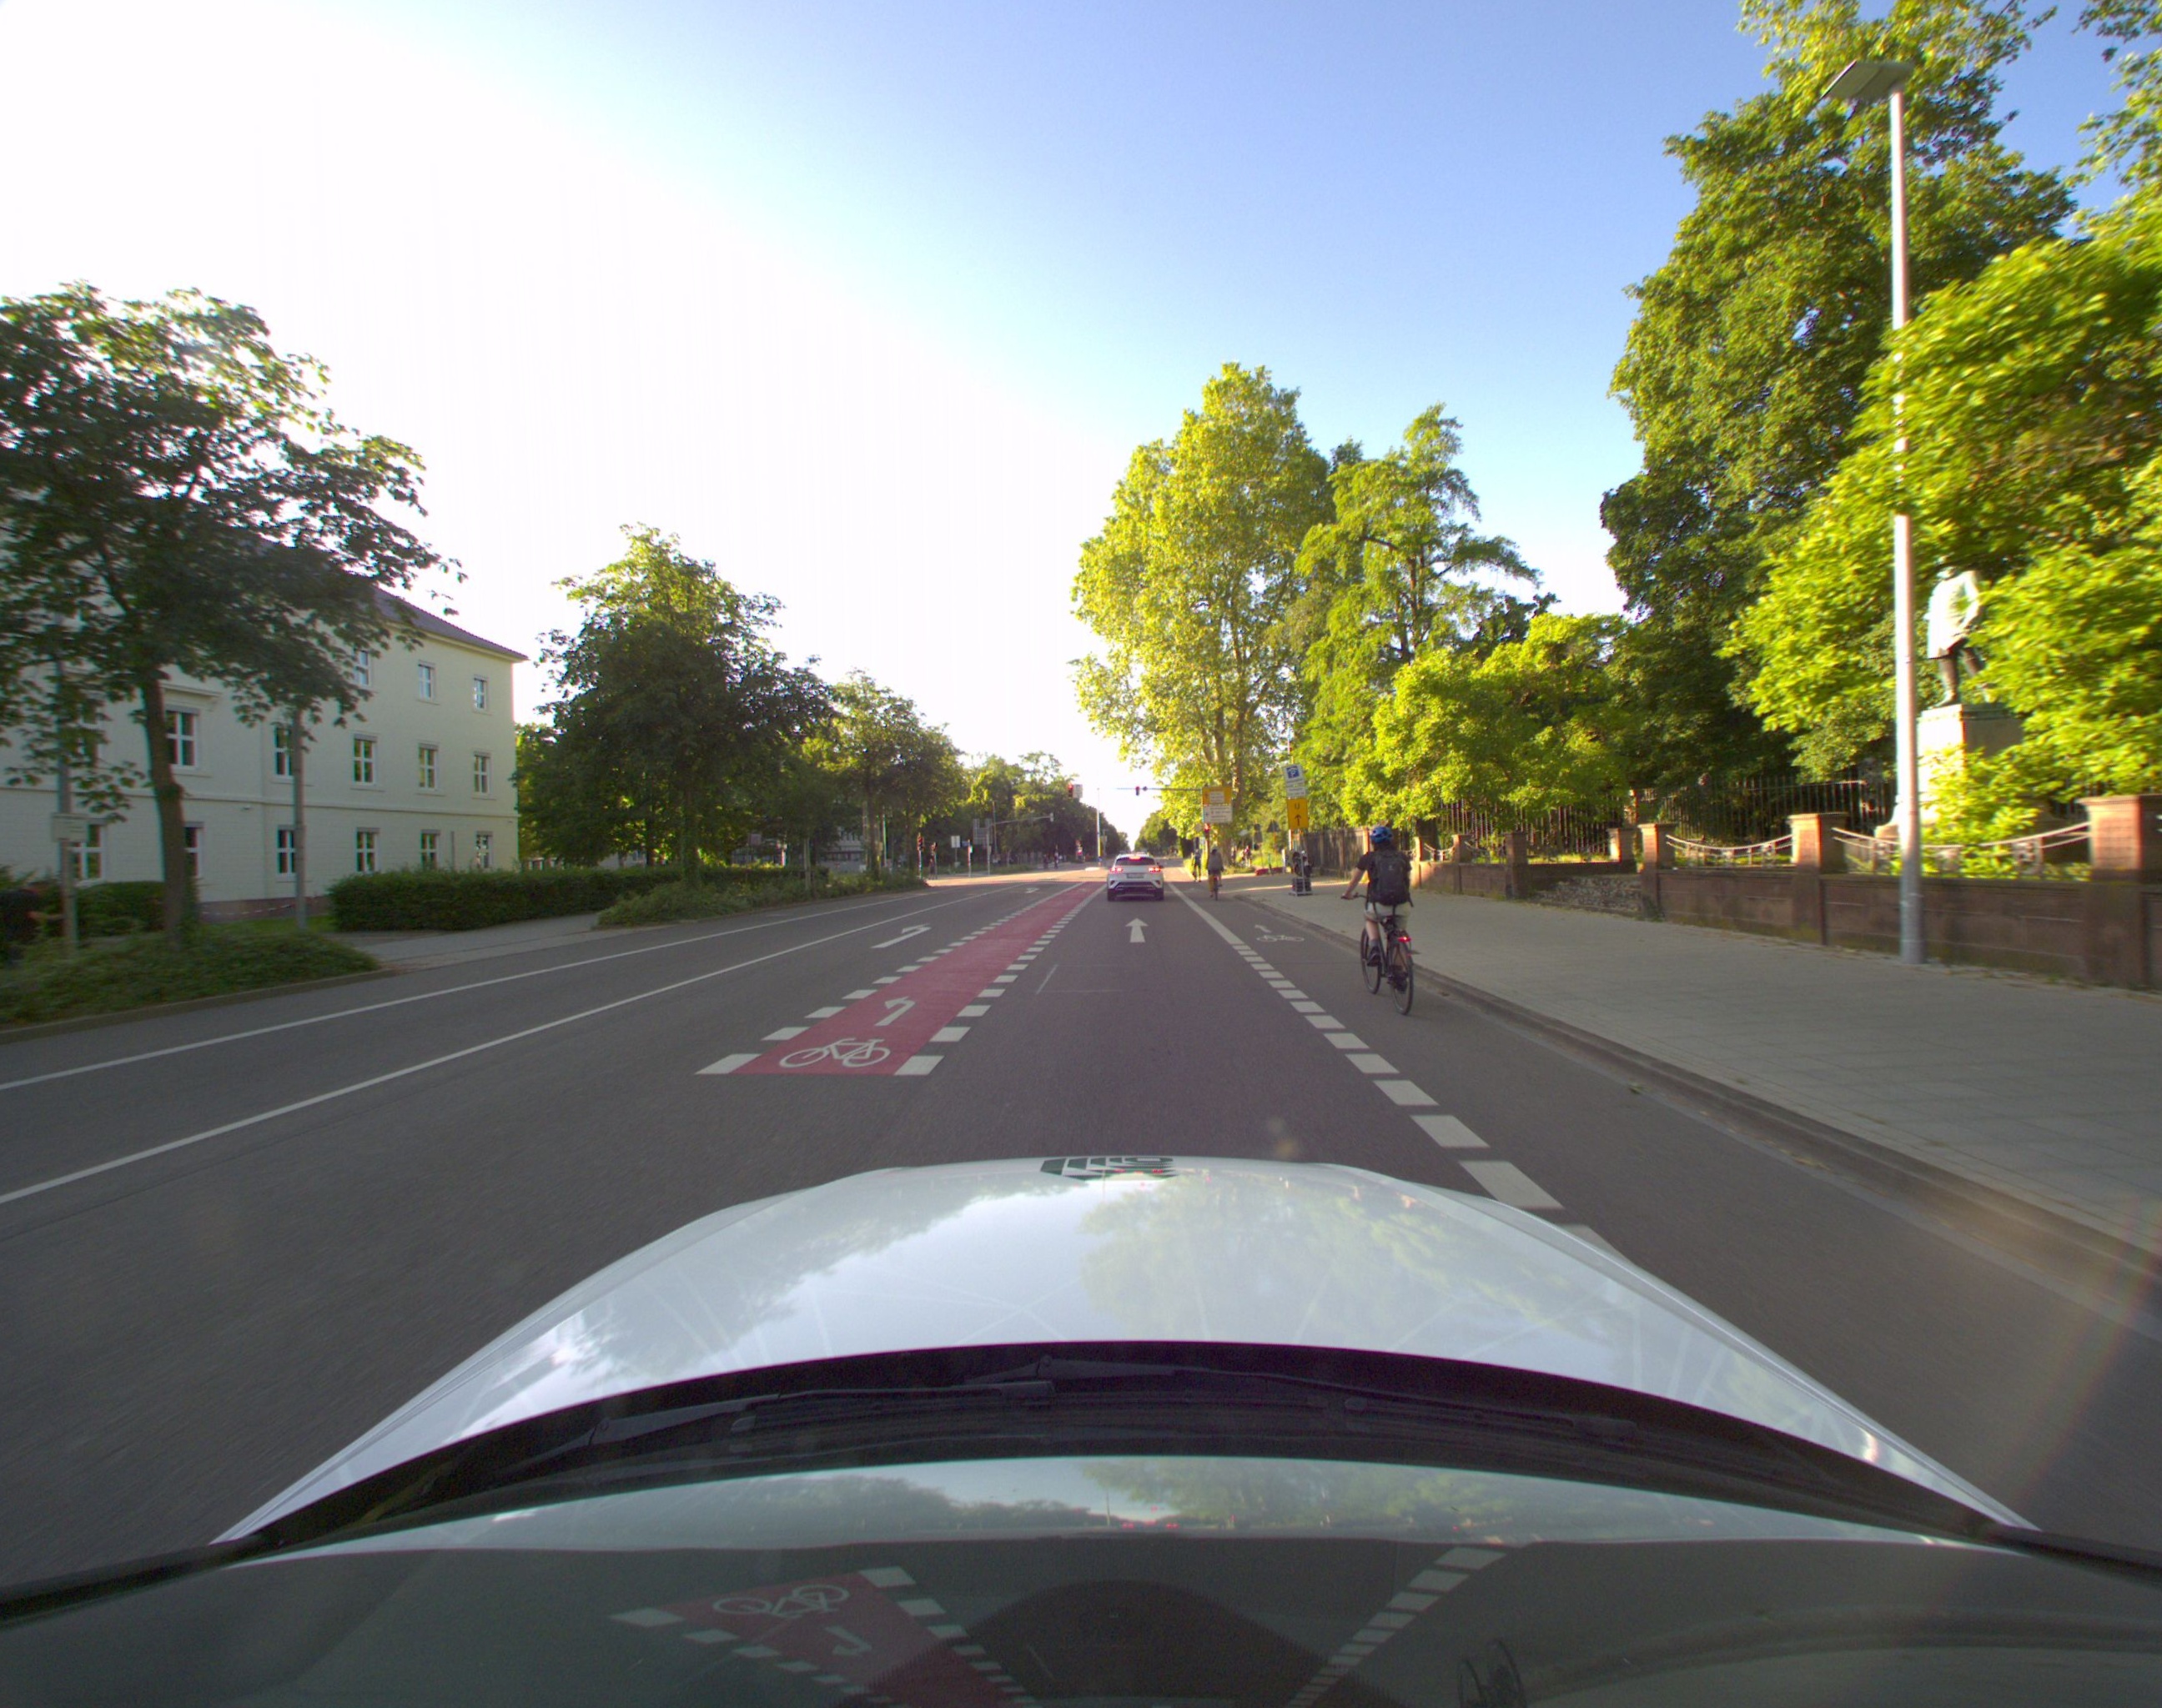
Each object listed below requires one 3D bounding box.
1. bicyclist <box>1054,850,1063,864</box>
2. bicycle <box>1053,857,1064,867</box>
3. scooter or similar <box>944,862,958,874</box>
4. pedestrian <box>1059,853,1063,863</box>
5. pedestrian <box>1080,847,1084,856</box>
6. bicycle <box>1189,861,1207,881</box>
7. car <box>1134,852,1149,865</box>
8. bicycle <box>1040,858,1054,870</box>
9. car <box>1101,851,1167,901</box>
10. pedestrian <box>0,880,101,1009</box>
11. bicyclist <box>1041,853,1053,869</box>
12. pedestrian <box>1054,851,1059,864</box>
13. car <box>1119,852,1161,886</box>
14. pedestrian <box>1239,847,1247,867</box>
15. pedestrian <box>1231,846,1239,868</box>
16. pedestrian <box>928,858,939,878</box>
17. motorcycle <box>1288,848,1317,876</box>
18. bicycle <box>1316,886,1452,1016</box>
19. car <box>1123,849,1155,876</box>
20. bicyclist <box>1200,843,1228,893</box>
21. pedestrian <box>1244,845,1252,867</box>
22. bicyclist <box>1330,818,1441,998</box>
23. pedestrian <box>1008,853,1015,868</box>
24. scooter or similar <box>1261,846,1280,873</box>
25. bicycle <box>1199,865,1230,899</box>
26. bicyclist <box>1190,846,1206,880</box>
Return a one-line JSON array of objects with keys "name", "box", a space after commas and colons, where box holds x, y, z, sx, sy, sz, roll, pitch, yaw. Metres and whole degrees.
[{"name": "bicyclist", "box": [-2.736, 0.376, 98.837, 0.951, 1.705, 1.234, -3, 0, 5]}, {"name": "bicycle", "box": [-2.708, 0.932, 98.765, 0.959, 1.181, 2.955, -3, 0, 6]}, {"name": "scooter or similar", "box": [-13.589, 1.429, 85.341, 0.506, 1.144, 1.710, -3, 0, 25]}, {"name": "pedestrian", "box": [-3.332, 0.672, 137.288, 0.518, 1.705, 0.528, -3, 0, -1]}, {"name": "pedestrian", "box": [0.267, -0.691, 216.848, 0.869, 2.149, 1.107, -3, 0, 13]}, {"name": "bicycle", "box": [6.273, 0.897, 43.752, 0.750, 1.026, 1.871, -1, -1, 3]}, {"name": "car", "box": [8.097, 0.581, 108.824, 1.727, 1.546, 4.009, -3, 0, 8]}, {"name": "bicycle", "box": [-3.714, 1.103, 88.889, 1.096, 1.255, 2.783, -3, 0, 6]}, {"name": "car", "box": [1.781, 0.669, 27.367, 1.985, 1.453, 4.004, -3, 0, 3]}, {"name": "pedestrian", "box": [-16.155, 1.368, 12.526, 0.852, 1.851, 1.001, -3, 0, 1]}, {"name": "bicyclist", "box": [-3.735, 0.773, 88.953, 1.087, 1.754, 1.099, -3, 0, 5]}, {"name": "pedestrian", "box": [-4.091, 0.564, 133.620, 0.654, 2.013, 0.832, -3, 0, 1]}, {"name": "car", "box": [2.934, 0.721, 40.750, 1.921, 1.533, 4.004, -3, 0, 3]}, {"name": "pedestrian", "box": [13.583, 0.231, 68.375, 0.479, 1.640, 0.433, -5, 3, 10]}, {"name": "pedestrian", "box": [12.877, 0.231, 68.220, 0.479, 1.792, 0.433, -5, 3, 10]}, {"name": "pedestrian", "box": [-13.818, 1.276, 76.227, 0.684, 1.792, 0.770, -5, 0, 3]}, {"name": "motorcycle", "box": [9.761, 0.343, 35.923, 0.659, 1.167, 2.329, -5, 0, 3]}, {"name": "bicycle", "box": [2.945, 0.884, 8.168, 0.640, 1.024, 2.214, -1, 0, 3]}, {"name": "car", "box": [3.671, 0.526, 52.014, 1.844, 1.591, 4.004, -3, 0, 3]}, {"name": "bicyclist", "box": [4.229, 0.441, 26.004, 0.744, 1.537, 0.970, -2, 0, 3]}, {"name": "pedestrian", "box": [14.097, 0.145, 68.892, 0.479, 1.792, 0.433, -5, 3, 10]}, {"name": "bicyclist", "box": [2.941, 0.485, 7.991, 0.633, 1.614, 1.285, -1, 0, 3]}, {"name": "pedestrian", "box": [-9.059, 0.881, 106.132, 0.648, 1.888, 0.664, -3, 0, 6]}, {"name": "scooter or similar", "box": [9.902, 0.292, 42.707, 0.564, 1.382, 1.857, -3, 0, 2]}, {"name": "bicycle", "box": [4.250, 0.870, 26.070, 0.750, 1.026, 1.871, -1, -1, 3]}, {"name": "bicyclist", "box": [6.254, 0.485, 43.612, 0.746, 1.750, 0.844, -1, 0, 3]}]
